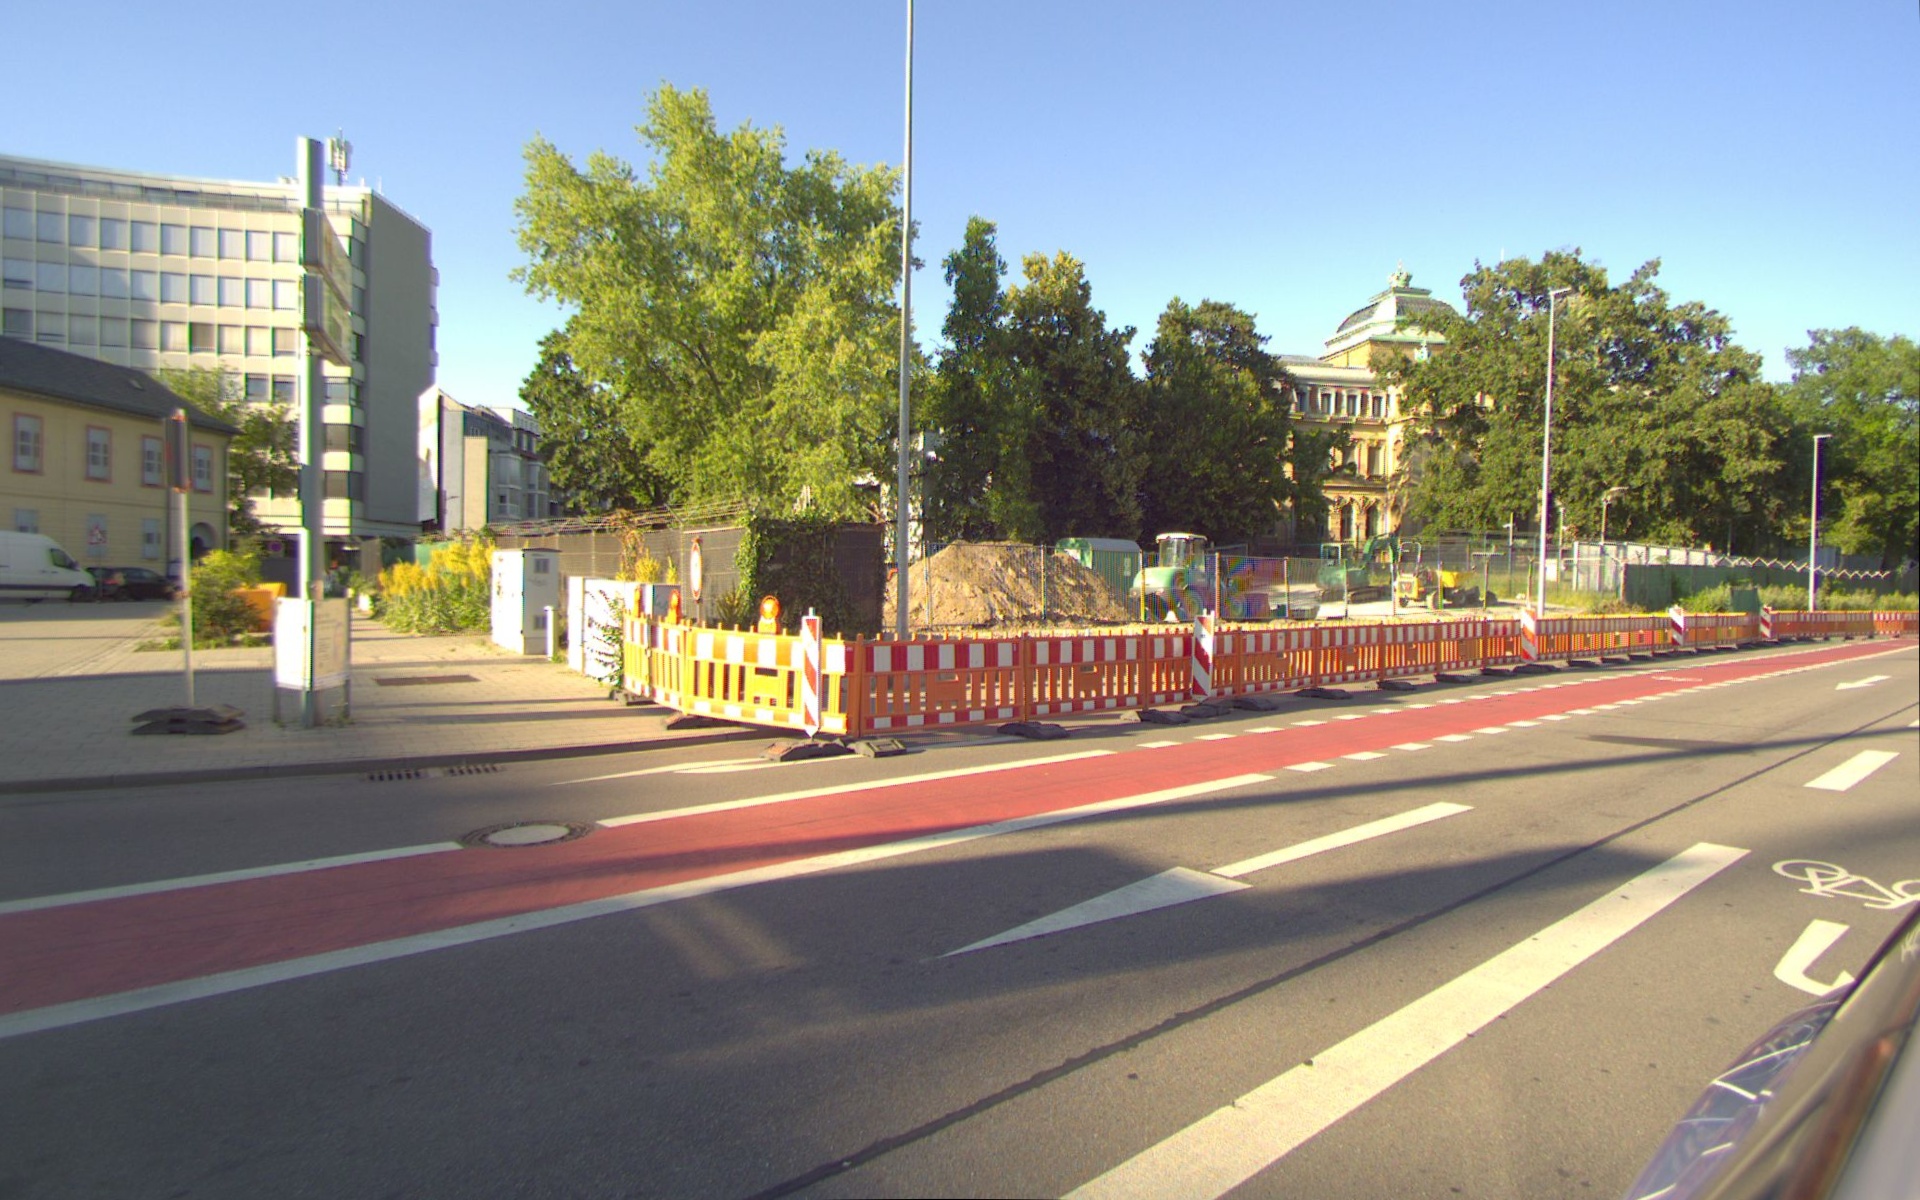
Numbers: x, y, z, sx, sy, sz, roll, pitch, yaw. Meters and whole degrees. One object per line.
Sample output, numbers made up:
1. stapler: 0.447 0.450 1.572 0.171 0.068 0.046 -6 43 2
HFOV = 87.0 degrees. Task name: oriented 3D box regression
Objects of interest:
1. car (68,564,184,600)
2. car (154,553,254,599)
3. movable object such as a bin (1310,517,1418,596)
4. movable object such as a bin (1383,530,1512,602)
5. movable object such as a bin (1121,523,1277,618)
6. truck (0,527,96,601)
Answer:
1. car: -34.343 -0.732 41.813 1.682 1.382 3.761 0 0 1
2. car: -34.398 -1.085 46.168 1.682 2.005 3.761 0 0 1
3. movable object such as a bin: 18.156 -1.873 45.377 5.274 3.371 1.999 -1 0 -36
4. movable object such as a bin: 20.424 -1.369 42.357 5.750 2.852 2.002 -1 0 -30
5. movable object such as a bin: 7.437 -0.877 31.296 4.920 2.717 1.999 -1 0 -36
6. truck: -34.316 -1.255 36.054 2.258 2.581 5.638 0 0 1
